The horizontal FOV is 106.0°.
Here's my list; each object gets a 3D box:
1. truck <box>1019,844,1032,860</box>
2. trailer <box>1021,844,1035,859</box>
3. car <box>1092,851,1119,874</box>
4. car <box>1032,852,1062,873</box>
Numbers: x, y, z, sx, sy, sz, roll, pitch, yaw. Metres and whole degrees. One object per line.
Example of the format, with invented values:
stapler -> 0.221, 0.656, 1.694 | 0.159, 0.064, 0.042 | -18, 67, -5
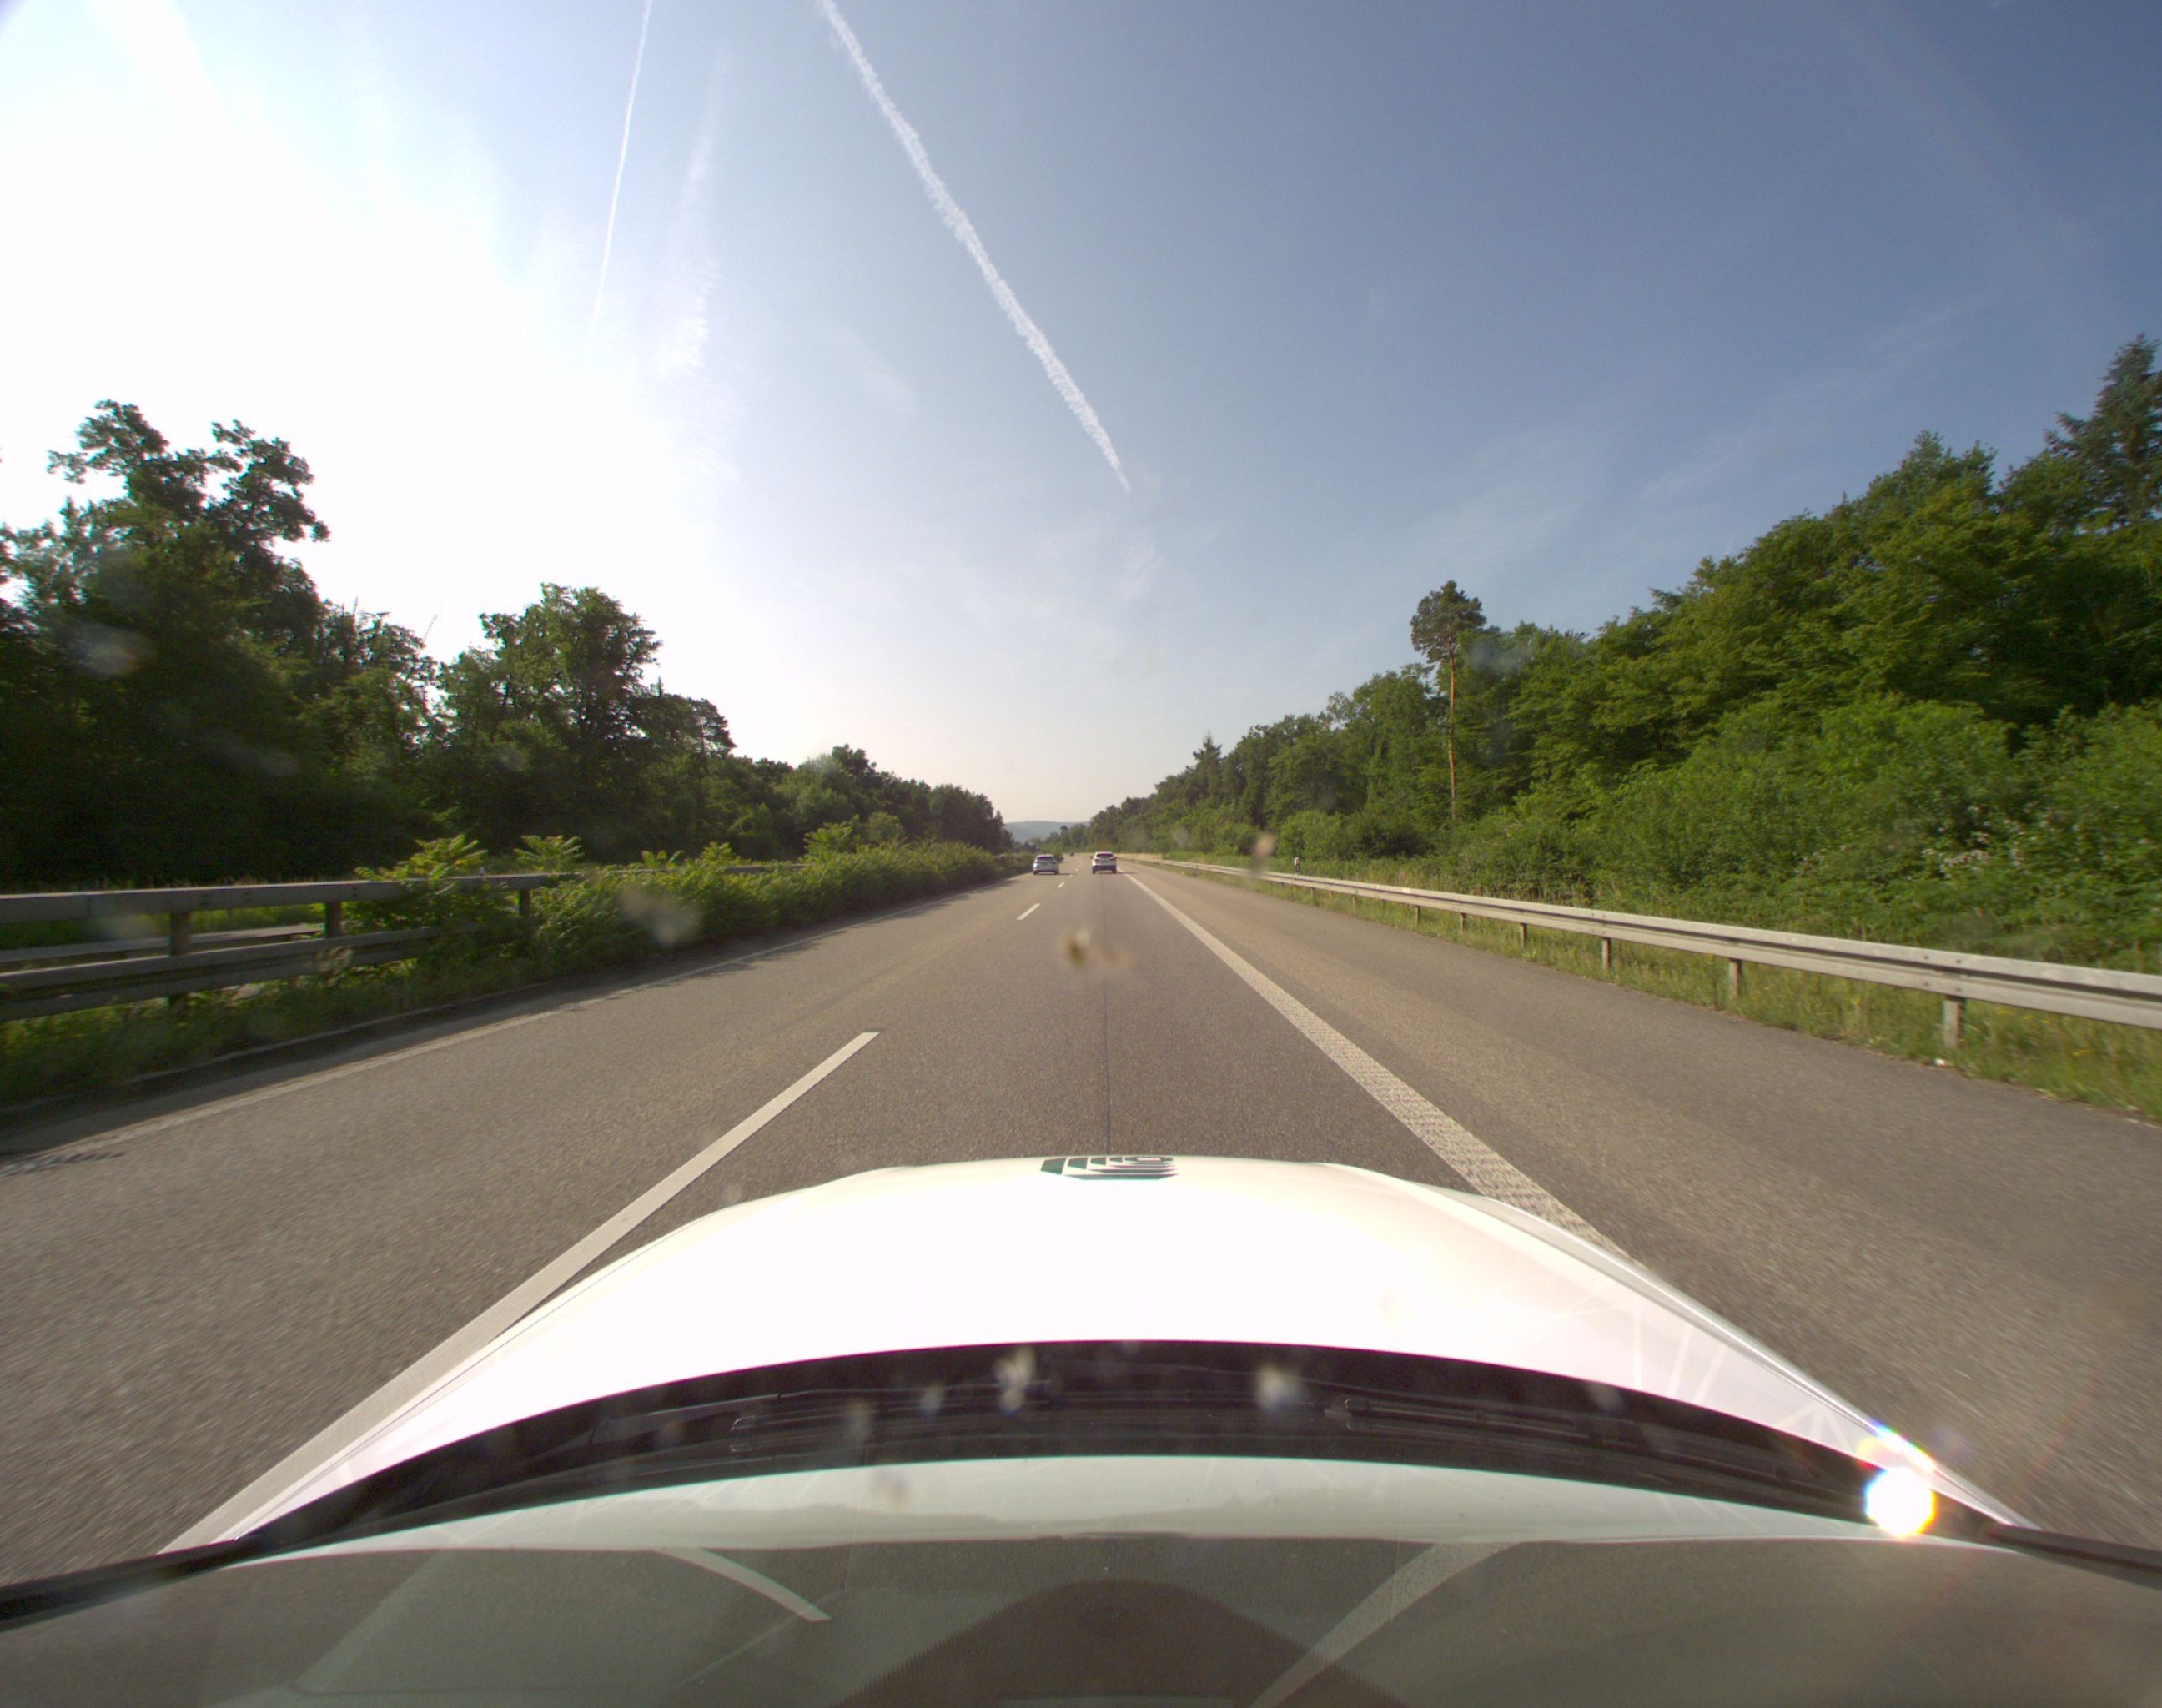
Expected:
truck -> -14.419, -0.600, 213.264 | 2.775, 3.998, 8.416 | -1, 0, 0
trailer -> -14.353, -0.628, 220.337 | 2.822, 3.998, 11.434 | -1, 0, 1
car -> 1.798, 0.583, 60.891 | 1.867, 1.586, 4.000 | 1, 0, 0
car -> -2.514, 0.601, 60.849 | 1.785, 1.438, 5.281 | -2, 0, 2
